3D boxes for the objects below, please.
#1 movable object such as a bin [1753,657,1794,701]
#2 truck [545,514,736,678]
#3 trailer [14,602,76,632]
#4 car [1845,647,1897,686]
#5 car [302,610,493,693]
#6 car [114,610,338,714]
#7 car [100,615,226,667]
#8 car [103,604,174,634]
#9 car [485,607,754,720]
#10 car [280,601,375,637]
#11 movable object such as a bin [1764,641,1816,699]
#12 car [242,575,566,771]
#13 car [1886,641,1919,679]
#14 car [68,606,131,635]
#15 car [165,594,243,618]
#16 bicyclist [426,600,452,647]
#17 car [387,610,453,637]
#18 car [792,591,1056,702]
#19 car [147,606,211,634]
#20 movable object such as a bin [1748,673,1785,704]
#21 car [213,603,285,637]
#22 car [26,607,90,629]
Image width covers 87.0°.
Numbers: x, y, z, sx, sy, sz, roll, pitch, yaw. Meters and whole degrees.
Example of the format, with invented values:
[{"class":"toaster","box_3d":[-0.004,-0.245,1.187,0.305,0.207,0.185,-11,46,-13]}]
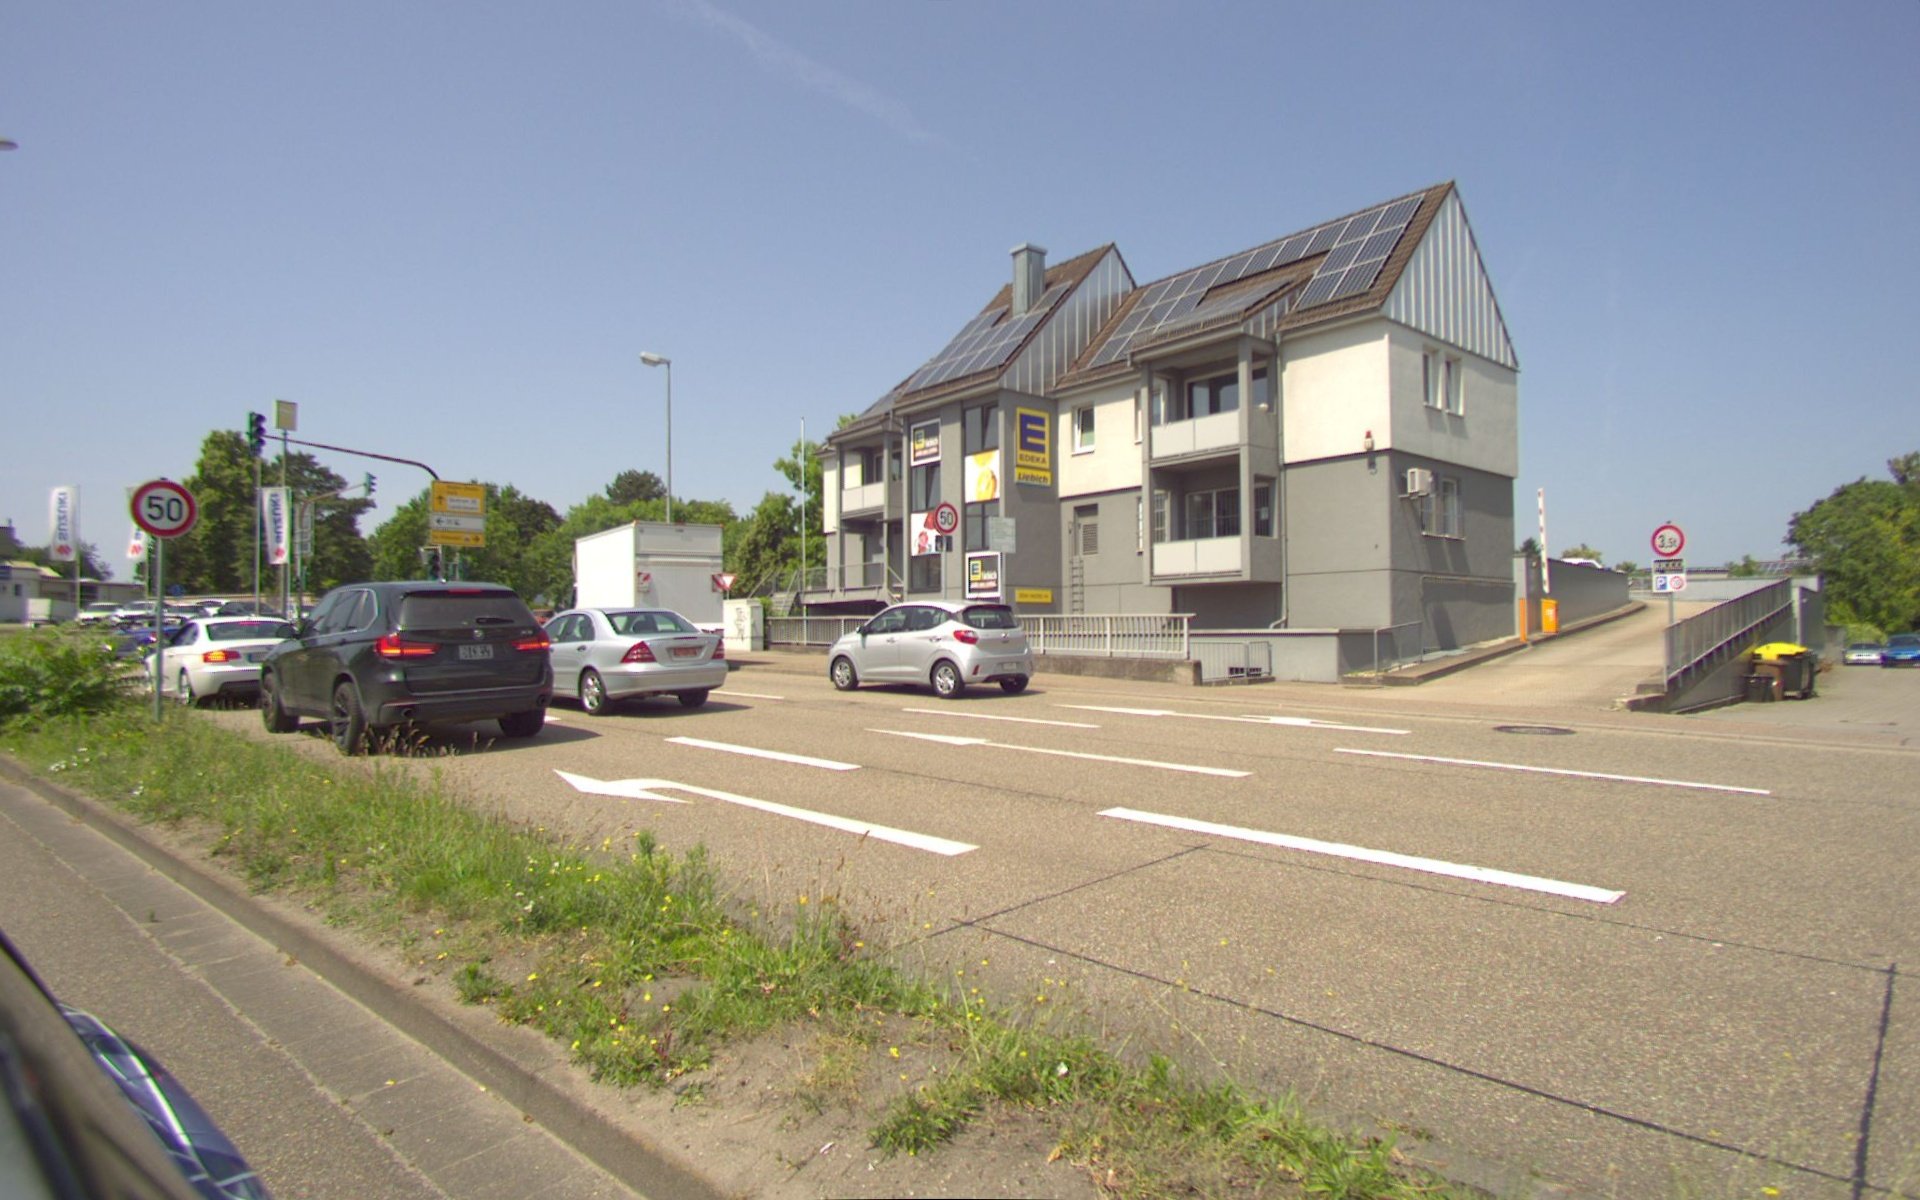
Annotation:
[{"class":"movable object such as a bin","box_3d":[20.377,1.966,25.348,0.749,1.019,0.886,-1,-2,42]},{"class":"truck","box_3d":[-8.005,-0.115,24.702,2.235,3.443,7.055,0,1,-37]},{"class":"trailer","box_3d":[-52.489,0.961,58.081,1.666,1.717,2.441,0,0,-12]},{"class":"car","box_3d":[48.893,3.518,54.296,1.921,1.831,3.942,0,0,44]},{"class":"car","box_3d":[-11.214,0.941,20.051,4.572,1.450,1.783,-1,-1,40]},{"class":"car","box_3d":[-12.014,0.907,16.435,4.740,1.442,1.844,-1,-1,40]},{"class":"car","box_3d":[-22.925,1.141,29.067,4.340,1.376,1.845,-1,-2,37]},{"class":"car","box_3d":[-46.044,1.032,56.806,1.885,1.552,3.975,0,0,-20]},{"class":"car","box_3d":[-4.958,0.791,14.445,4.197,1.371,1.877,0,-1,43]},{"class":"car","box_3d":[-35.453,1.080,56.814,4.234,1.916,1.836,2,-1,-23]},{"class":"movable object such as a bin","box_3d":[21.650,1.813,26.392,1.022,1.396,1.164,0,0,41]},{"class":"car","box_3d":[-6.490,0.645,11.531,4.761,1.764,1.888,0,1,44]},{"class":"car","box_3d":[42.394,2.642,44.989,3.493,1.517,1.602,0,0,-44]},{"class":"car","box_3d":[-48.610,1.126,57.233,1.727,1.521,3.833,0,0,-24]},{"class":"car","box_3d":[-54.024,0.442,72.338,4.706,1.662,1.689,0,-1,11]},{"class":"bicyclist","box_3d":[-18.627,0.840,36.166,0.816,1.655,0.419,-2,-1,27]},{"class":"car","box_3d":[-32.263,1.363,60.437,3.986,1.548,1.777,0,0,32]},{"class":"car","box_3d":[-0.683,0.675,16.446,4.197,1.578,1.877,0,-1,43]},{"class":"car","box_3d":[-43.478,1.080,56.426,1.686,1.443,3.975,1,0,-21]},{"class":"movable object such as a bin","box_3d":[19.447,2.127,24.400,0.646,0.672,0.843,-1,-2,42]},{"class":"car","box_3d":[-39.727,1.095,56.542,3.999,1.737,1.827,1,0,30]},{"class":"car","box_3d":[-64.788,1.287,72.705,3.594,1.517,1.688,0,-1,13]}]
